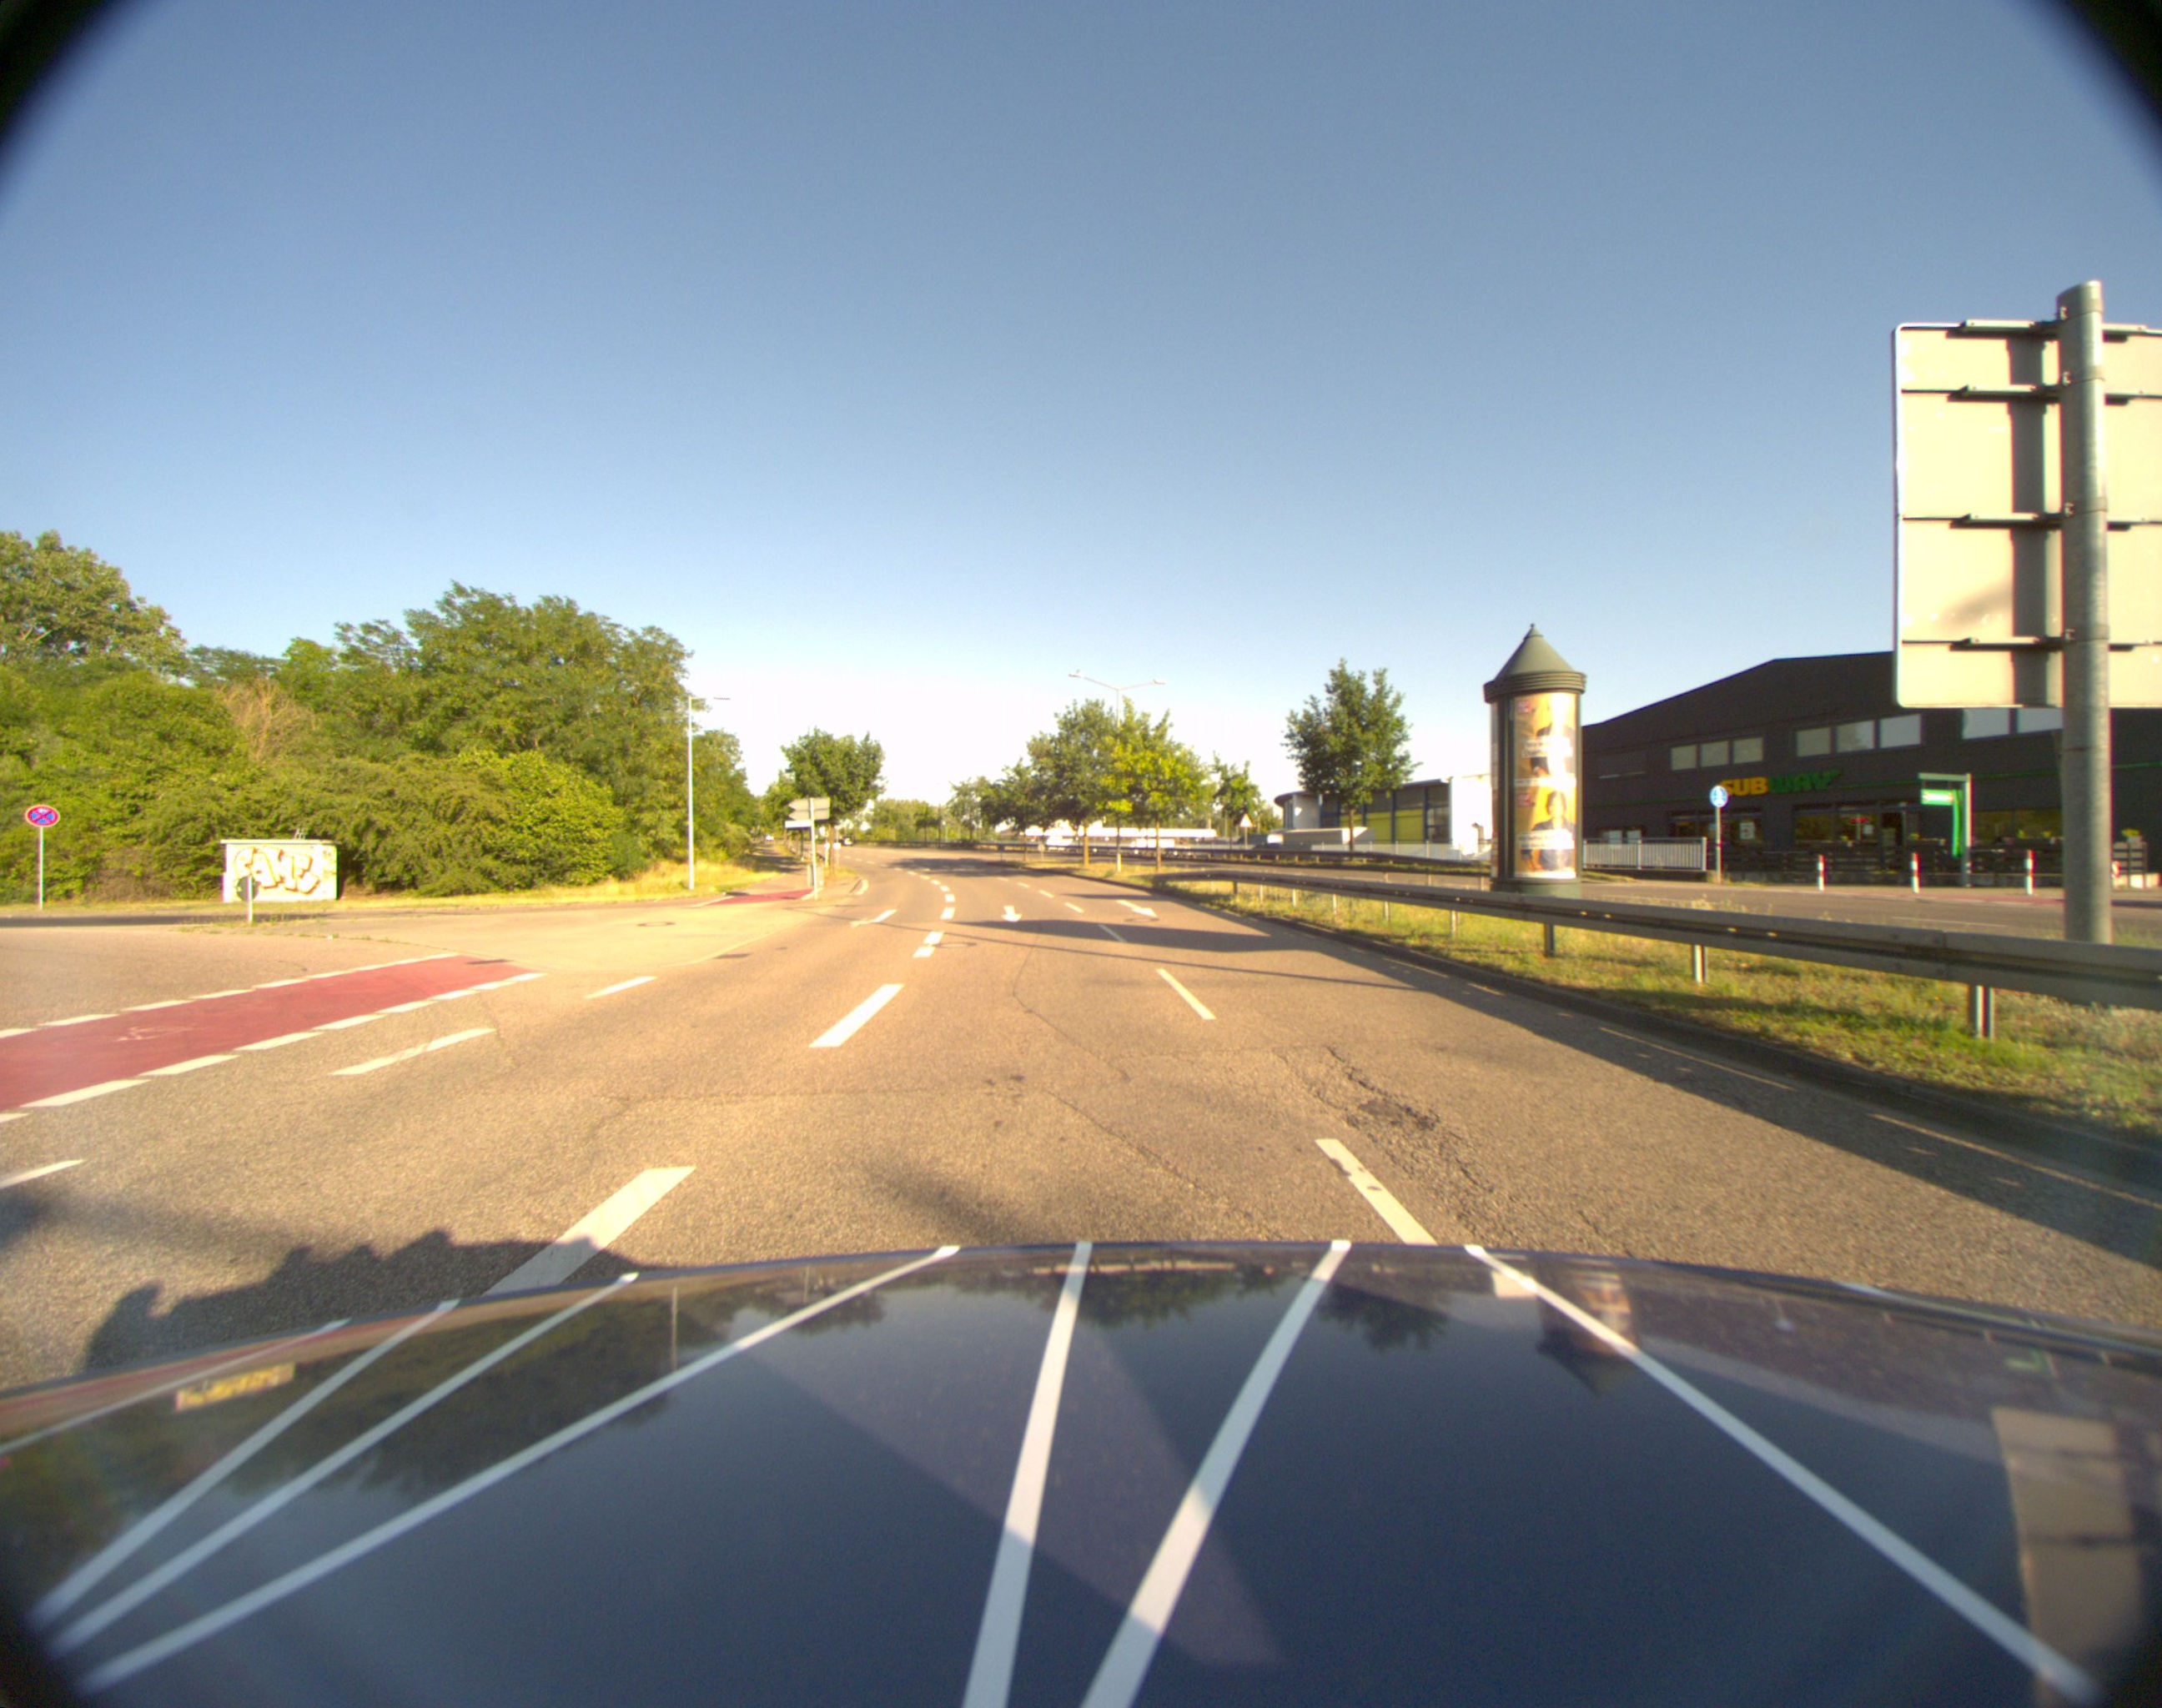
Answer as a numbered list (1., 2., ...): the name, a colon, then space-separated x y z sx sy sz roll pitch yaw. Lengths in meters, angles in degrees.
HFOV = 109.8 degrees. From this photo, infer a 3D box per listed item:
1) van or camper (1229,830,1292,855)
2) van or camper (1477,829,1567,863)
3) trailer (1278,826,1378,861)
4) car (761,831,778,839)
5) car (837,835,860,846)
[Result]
1. van or camper: 12.679 -0.826 54.112 2.002 1.676 4.950 -2 2 -20
2. van or camper: 26.090 -0.483 45.121 4.220 1.915 2.002 1 3 18
3. trailer: 15.229 -0.699 47.406 2.429 1.959 6.593 -1 2 -19
4. car: -60.038 -3.705 146.515 1.681 1.454 4.093 -3 3 -41
5. car: -34.908 -2.022 114.114 1.855 1.595 4.382 -2 2 -37
